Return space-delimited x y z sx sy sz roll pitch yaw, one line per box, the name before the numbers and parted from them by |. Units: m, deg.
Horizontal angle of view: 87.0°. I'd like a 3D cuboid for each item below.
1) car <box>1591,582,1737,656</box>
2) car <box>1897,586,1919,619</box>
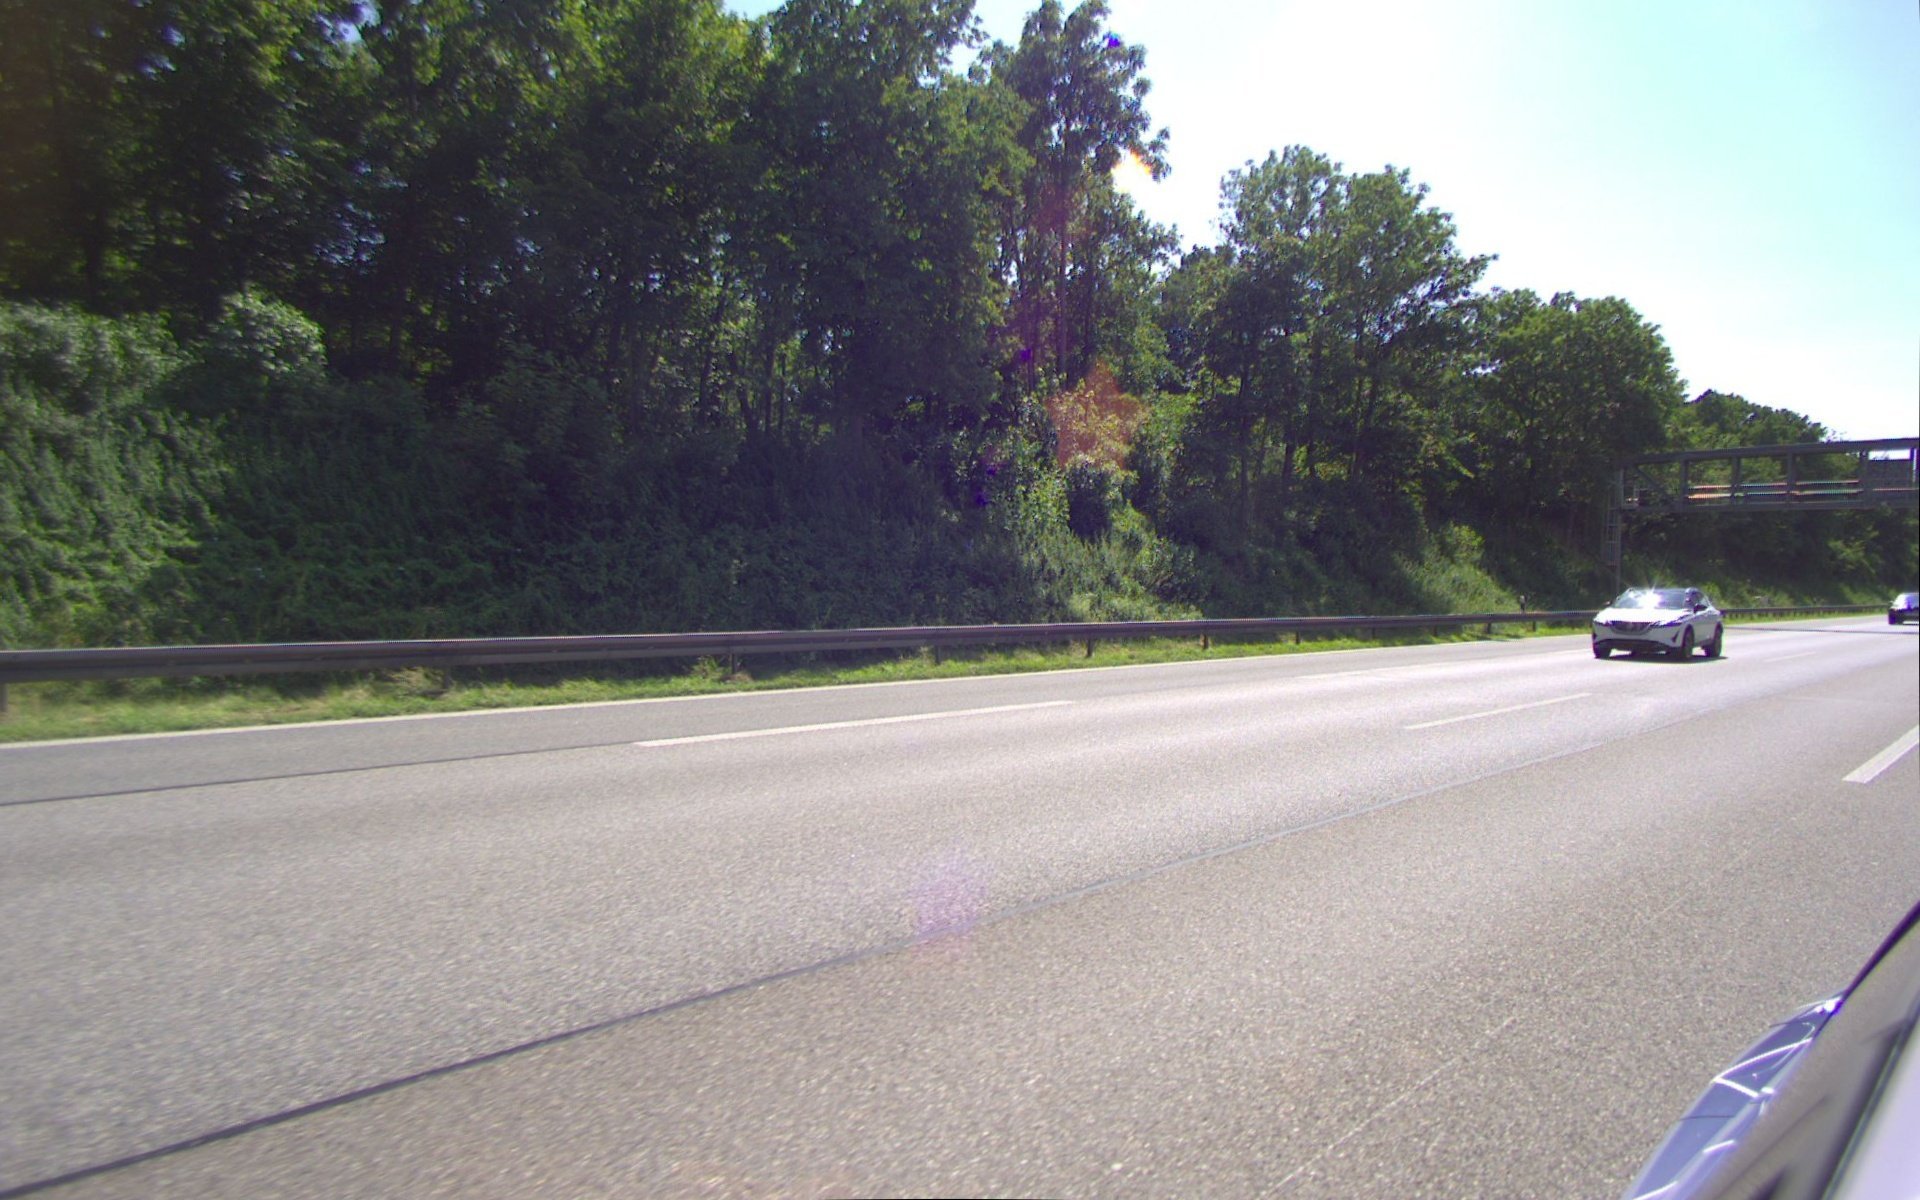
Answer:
car | 16.429 0.390 23.544 3.964 1.588 1.847 0 0 -40
car | 51.170 0.103 53.359 4.602 1.690 1.924 0 0 -39
